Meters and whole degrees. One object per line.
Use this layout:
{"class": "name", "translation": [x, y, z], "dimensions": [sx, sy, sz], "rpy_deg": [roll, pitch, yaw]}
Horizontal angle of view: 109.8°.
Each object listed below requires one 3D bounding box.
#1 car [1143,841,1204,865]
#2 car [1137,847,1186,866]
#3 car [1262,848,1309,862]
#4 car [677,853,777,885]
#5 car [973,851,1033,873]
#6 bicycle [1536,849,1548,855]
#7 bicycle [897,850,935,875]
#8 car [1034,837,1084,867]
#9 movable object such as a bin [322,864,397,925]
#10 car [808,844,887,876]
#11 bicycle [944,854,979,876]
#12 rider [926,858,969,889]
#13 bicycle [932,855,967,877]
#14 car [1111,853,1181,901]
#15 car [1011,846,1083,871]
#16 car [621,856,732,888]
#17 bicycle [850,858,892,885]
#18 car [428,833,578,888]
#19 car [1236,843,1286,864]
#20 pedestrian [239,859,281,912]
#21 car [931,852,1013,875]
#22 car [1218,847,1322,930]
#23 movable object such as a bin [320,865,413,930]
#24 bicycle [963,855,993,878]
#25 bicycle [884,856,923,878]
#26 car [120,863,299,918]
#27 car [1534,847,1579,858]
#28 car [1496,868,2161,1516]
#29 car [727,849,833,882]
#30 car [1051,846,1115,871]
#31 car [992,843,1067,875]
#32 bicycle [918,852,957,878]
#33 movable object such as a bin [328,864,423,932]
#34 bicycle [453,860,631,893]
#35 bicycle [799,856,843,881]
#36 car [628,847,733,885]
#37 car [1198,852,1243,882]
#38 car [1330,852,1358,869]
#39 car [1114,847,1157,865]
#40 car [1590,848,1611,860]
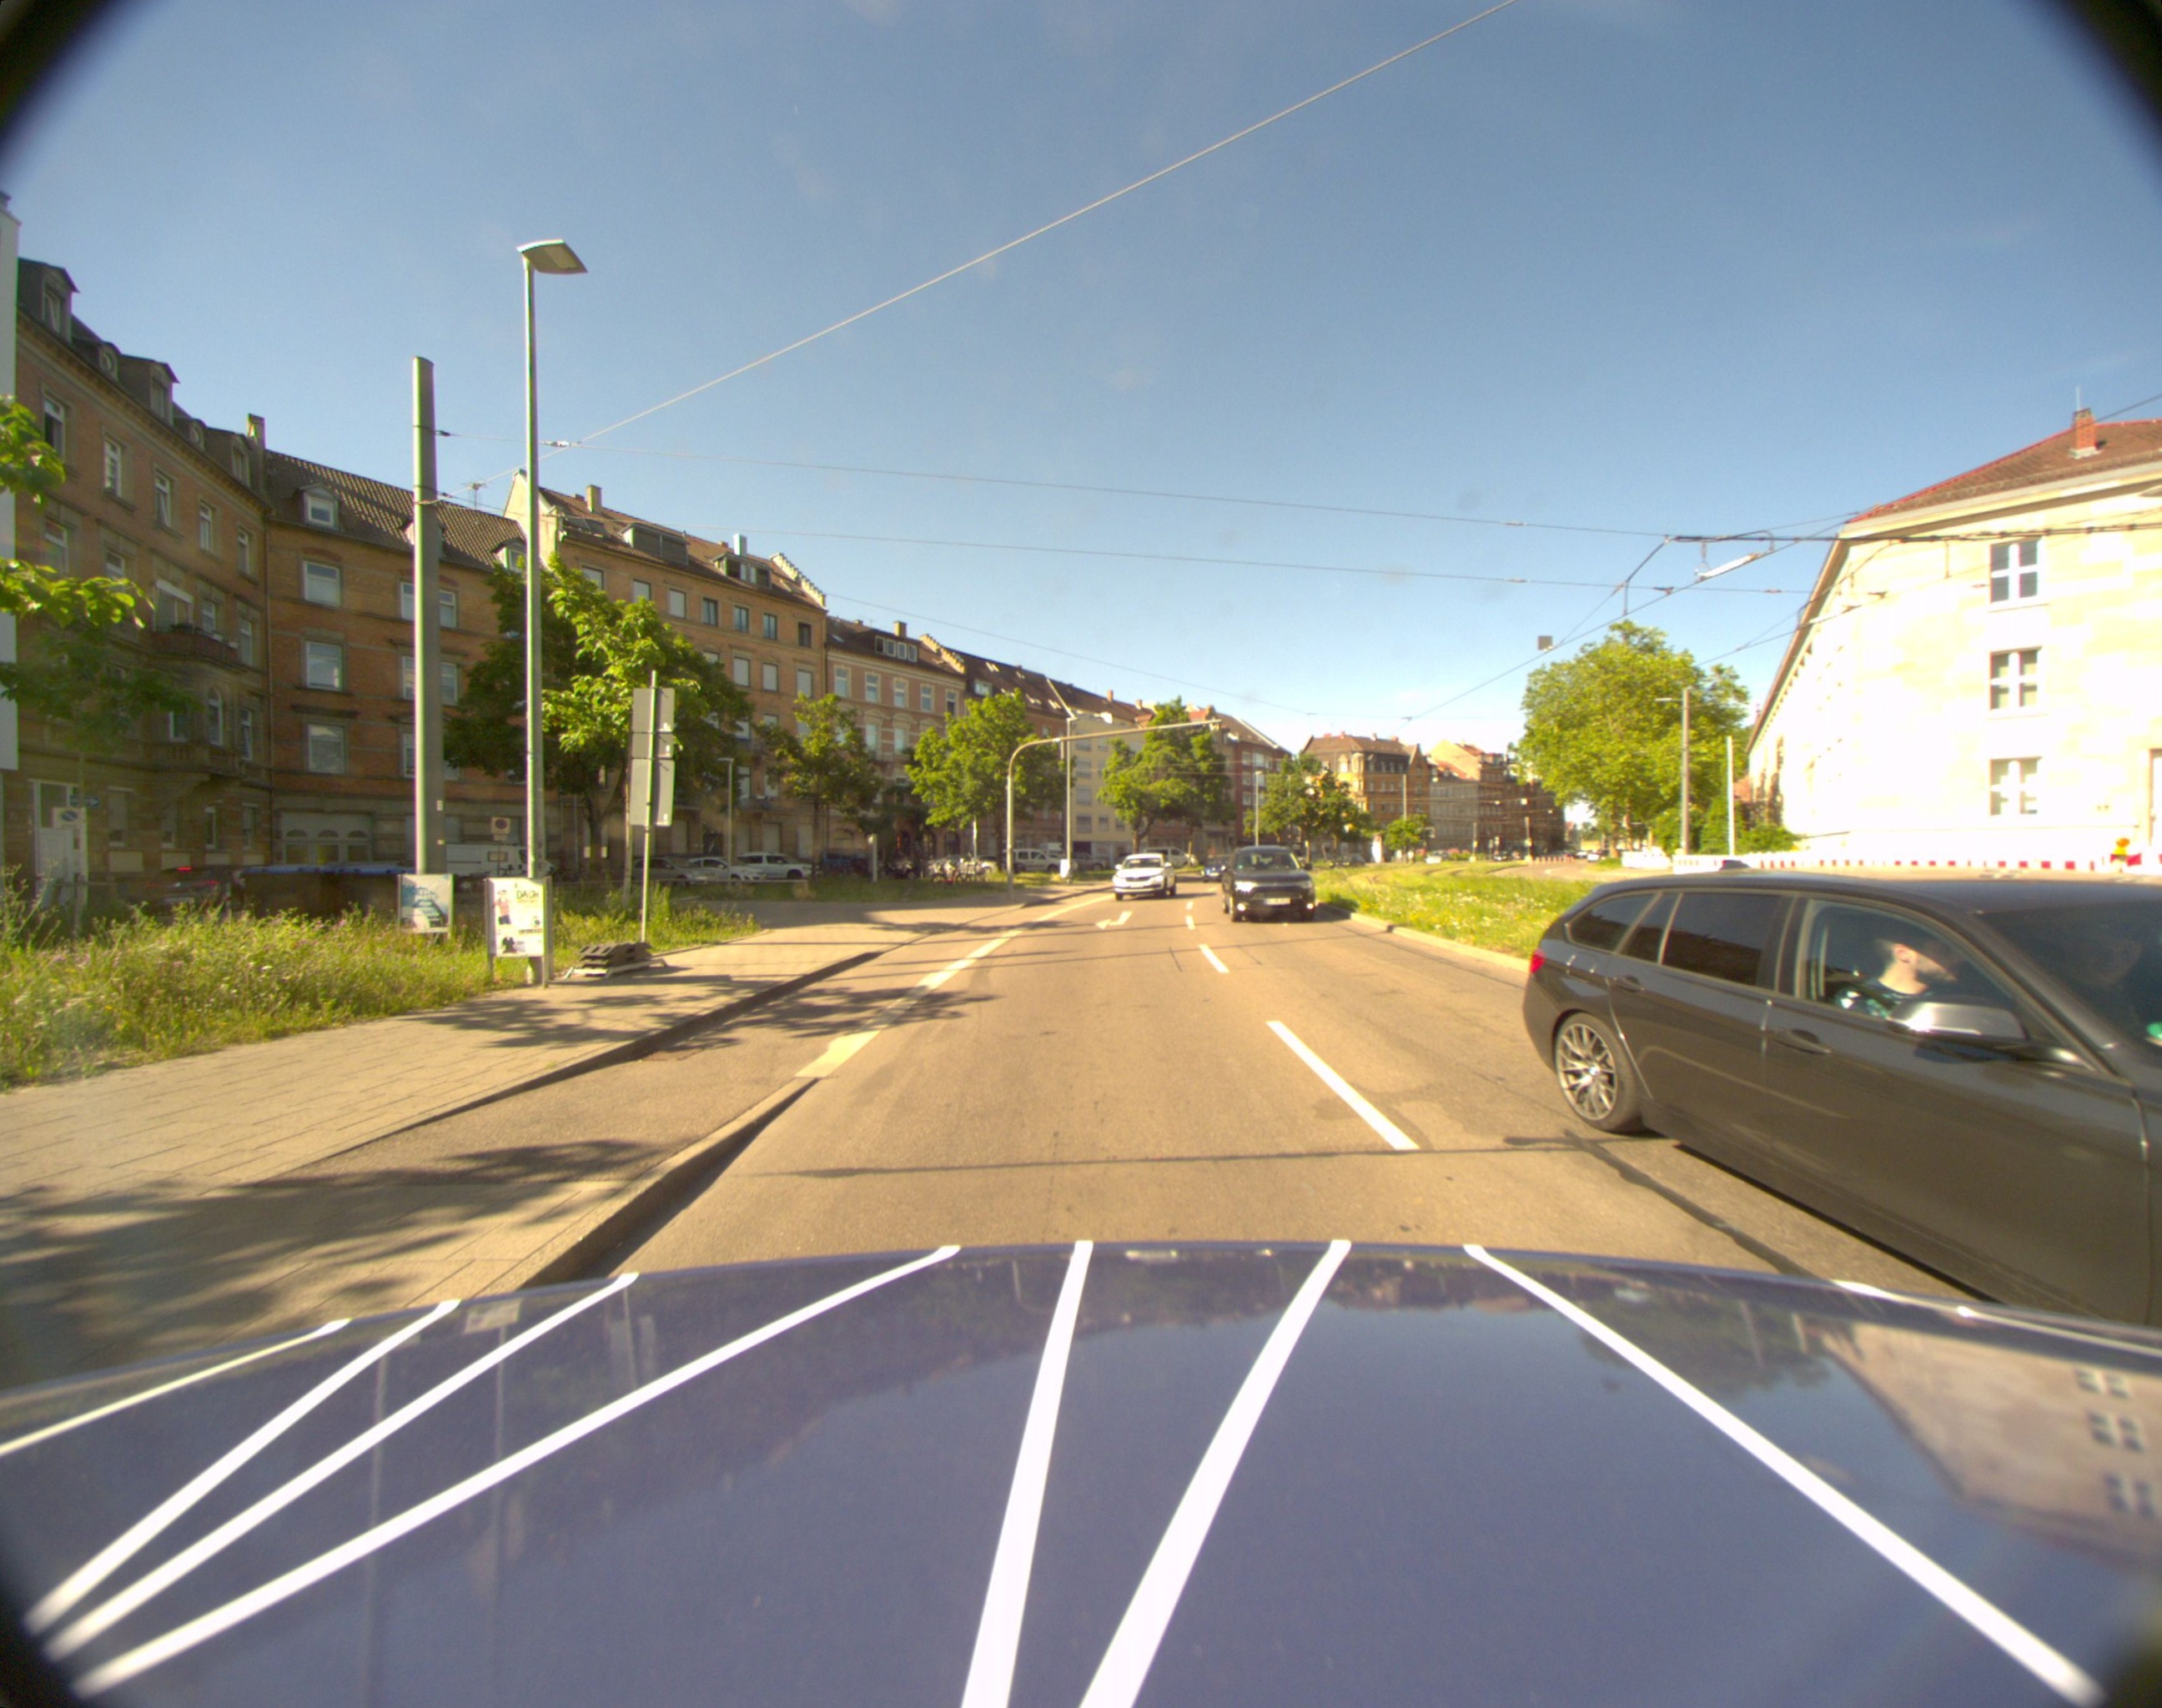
{"class": "car", "translation": [8.198, -0.105, 67.119], "dimensions": [5.179, 2.002, 2.102], "rpy_deg": [1, 2, 10]}
{"class": "car", "translation": [6.802, 0.217, 64.512], "dimensions": [4.025, 1.470, 1.813], "rpy_deg": [1, 2, 5]}
{"class": "car", "translation": [23.297, 0.114, 86.725], "dimensions": [4.874, 1.427, 2.021], "rpy_deg": [1, 1, 6]}
{"class": "car", "translation": [-16.424, 0.697, 35.295], "dimensions": [3.838, 1.433, 1.761], "rpy_deg": [-1, 0, 8]}
{"class": "car", "translation": [-5.150, 0.534, 50.184], "dimensions": [3.610, 1.372, 1.926], "rpy_deg": [-1, 0, 5]}
{"class": "bicycle", "translation": [90.175, -0.485, 148.574], "dimensions": [0.846, 1.131, 1.915], "rpy_deg": [-1, 1, -35]}
{"class": "bicycle", "translation": [-9.142, 0.497, 42.153], "dimensions": [2.094, 1.357, 0.789], "rpy_deg": [-1, 1, 34]}
{"class": "car", "translation": [-1.929, -0.162, 68.112], "dimensions": [1.994, 2.570, 4.523], "rpy_deg": [2, 1, 40]}
{"class": "movable object such as a bin", "translation": [-17.370, 0.938, 18.328], "dimensions": [1.092, 1.390, 1.029], "rpy_deg": [-1, 1, -31]}
{"class": "car", "translation": [-15.481, 0.371, 50.591], "dimensions": [1.994, 1.966, 4.734], "rpy_deg": [2, 1, 39]}
{"class": "bicycle", "translation": [-6.892, 0.606, 43.630], "dimensions": [1.945, 1.174, 0.902], "rpy_deg": [1, 2, 38]}
{"class": "rider", "translation": [-5.759, 0.836, 32.876], "dimensions": [1.678, 1.169, 0.502], "rpy_deg": [-5, 3, -34]}
{"class": "bicycle", "translation": [-7.421, 0.649, 42.868], "dimensions": [1.958, 1.185, 0.843], "rpy_deg": [2, 2, 39]}
{"class": "car", "translation": [2.539, 0.804, 28.510], "dimensions": [1.799, 1.626, 4.399], "rpy_deg": [-1, 1, 16]}
{"class": "car", "translation": [-2.427, 0.310, 55.060], "dimensions": [4.872, 1.638, 2.102], "rpy_deg": [1, 2, 10]}
{"class": "car", "translation": [-17.652, 0.775, 33.230], "dimensions": [4.049, 1.329, 1.841], "rpy_deg": [-1, 0, 13]}
{"class": "bicycle", "translation": [-10.902, 0.894, 39.434], "dimensions": [2.094, 1.390, 0.789], "rpy_deg": [-1, 1, 28]}
{"class": "car", "translation": [-26.897, 0.277, 35.509], "dimensions": [2.349, 2.344, 5.199], "rpy_deg": [2, 1, 40]}
{"class": "car", "translation": [19.167, -0.080, 81.042], "dimensions": [4.875, 2.063, 2.021], "rpy_deg": [1, 1, 4]}
{"class": "pedestrian", "translation": [-24.984, 0.954, 23.123], "dimensions": [0.641, 1.567, 0.773], "rpy_deg": [0, 1, 39]}
{"class": "car", "translation": [-6.784, 0.575, 47.662], "dimensions": [4.747, 1.372, 2.047], "rpy_deg": [-1, 0, 5]}
{"class": "car", "translation": [4.319, 0.700, 18.003], "dimensions": [1.839, 1.672, 4.645], "rpy_deg": [-2, 0, 8]}
{"class": "movable object such as a bin", "translation": [-16.392, 0.974, 17.489], "dimensions": [1.323, 1.390, 1.108], "rpy_deg": [-1, 0, -31]}
{"class": "bicycle", "translation": [-5.717, 0.691, 42.090], "dimensions": [1.598, 1.282, 0.769], "rpy_deg": [0, 1, -11]}
{"class": "bicycle", "translation": [-9.699, 0.702, 41.396], "dimensions": [2.163, 1.152, 0.824], "rpy_deg": [-1, 1, 35]}
{"class": "car", "translation": [-26.216, 1.034, 23.092], "dimensions": [2.002, 1.428, 4.099], "rpy_deg": [-1, 1, -24]}
{"class": "car", "translation": [65.044, -0.190, 104.018], "dimensions": [1.839, 1.445, 4.947], "rpy_deg": [-1, 1, -33]}
{"class": "car", "translation": [3.472, 0.854, 2.513], "dimensions": [1.738, 1.415, 4.467], "rpy_deg": [-4, 0, 1]}
{"class": "car", "translation": [-14.849, 0.538, 37.643], "dimensions": [4.464, 1.556, 1.939], "rpy_deg": [-1, 0, 8]}
{"class": "car", "translation": [0.171, 0.318, 57.194], "dimensions": [4.505, 1.718, 2.001], "rpy_deg": [1, 2, 10]}
{"class": "car", "translation": [-3.531, 0.317, 52.513], "dimensions": [4.874, 2.002, 2.101], "rpy_deg": [1, 2, 5]}
{"class": "bicycle", "translation": [-7.638, 0.574, 40.411], "dimensions": [2.094, 1.357, 0.789], "rpy_deg": [-1, 1, 34]}
{"class": "movable object such as a bin", "translation": [-15.427, 0.930, 16.667], "dimensions": [1.306, 1.390, 1.069], "rpy_deg": [-1, 0, -31]}
{"class": "bicycle", "translation": [-21.596, 0.854, 30.692], "dimensions": [2.676, 1.120, 5.233], "rpy_deg": [-1, 0, 34]}
{"class": "bicycle", "translation": [-14.212, 0.785, 41.621], "dimensions": [2.099, 1.357, 0.787], "rpy_deg": [-1, 1, -2]}
{"class": "car", "translation": [-22.234, 0.630, 42.307], "dimensions": [1.994, 1.966, 4.734], "rpy_deg": [2, 1, 39]}
{"class": "car", "translation": [8.197, 0.724, 44.368], "dimensions": [1.996, 1.608, 4.269], "rpy_deg": [-1, 0, 18]}
{"class": "car", "translation": [23.535, 0.549, 67.902], "dimensions": [1.886, 1.419, 4.384], "rpy_deg": [-1, 0, 25]}
{"class": "car", "translation": [5.588, 0.214, 77.352], "dimensions": [1.994, 1.789, 4.636], "rpy_deg": [2, 1, 38]}
{"class": "car", "translation": [66.099, 0.004, 96.678], "dimensions": [1.830, 1.445, 4.179], "rpy_deg": [1, 1, 40]}
